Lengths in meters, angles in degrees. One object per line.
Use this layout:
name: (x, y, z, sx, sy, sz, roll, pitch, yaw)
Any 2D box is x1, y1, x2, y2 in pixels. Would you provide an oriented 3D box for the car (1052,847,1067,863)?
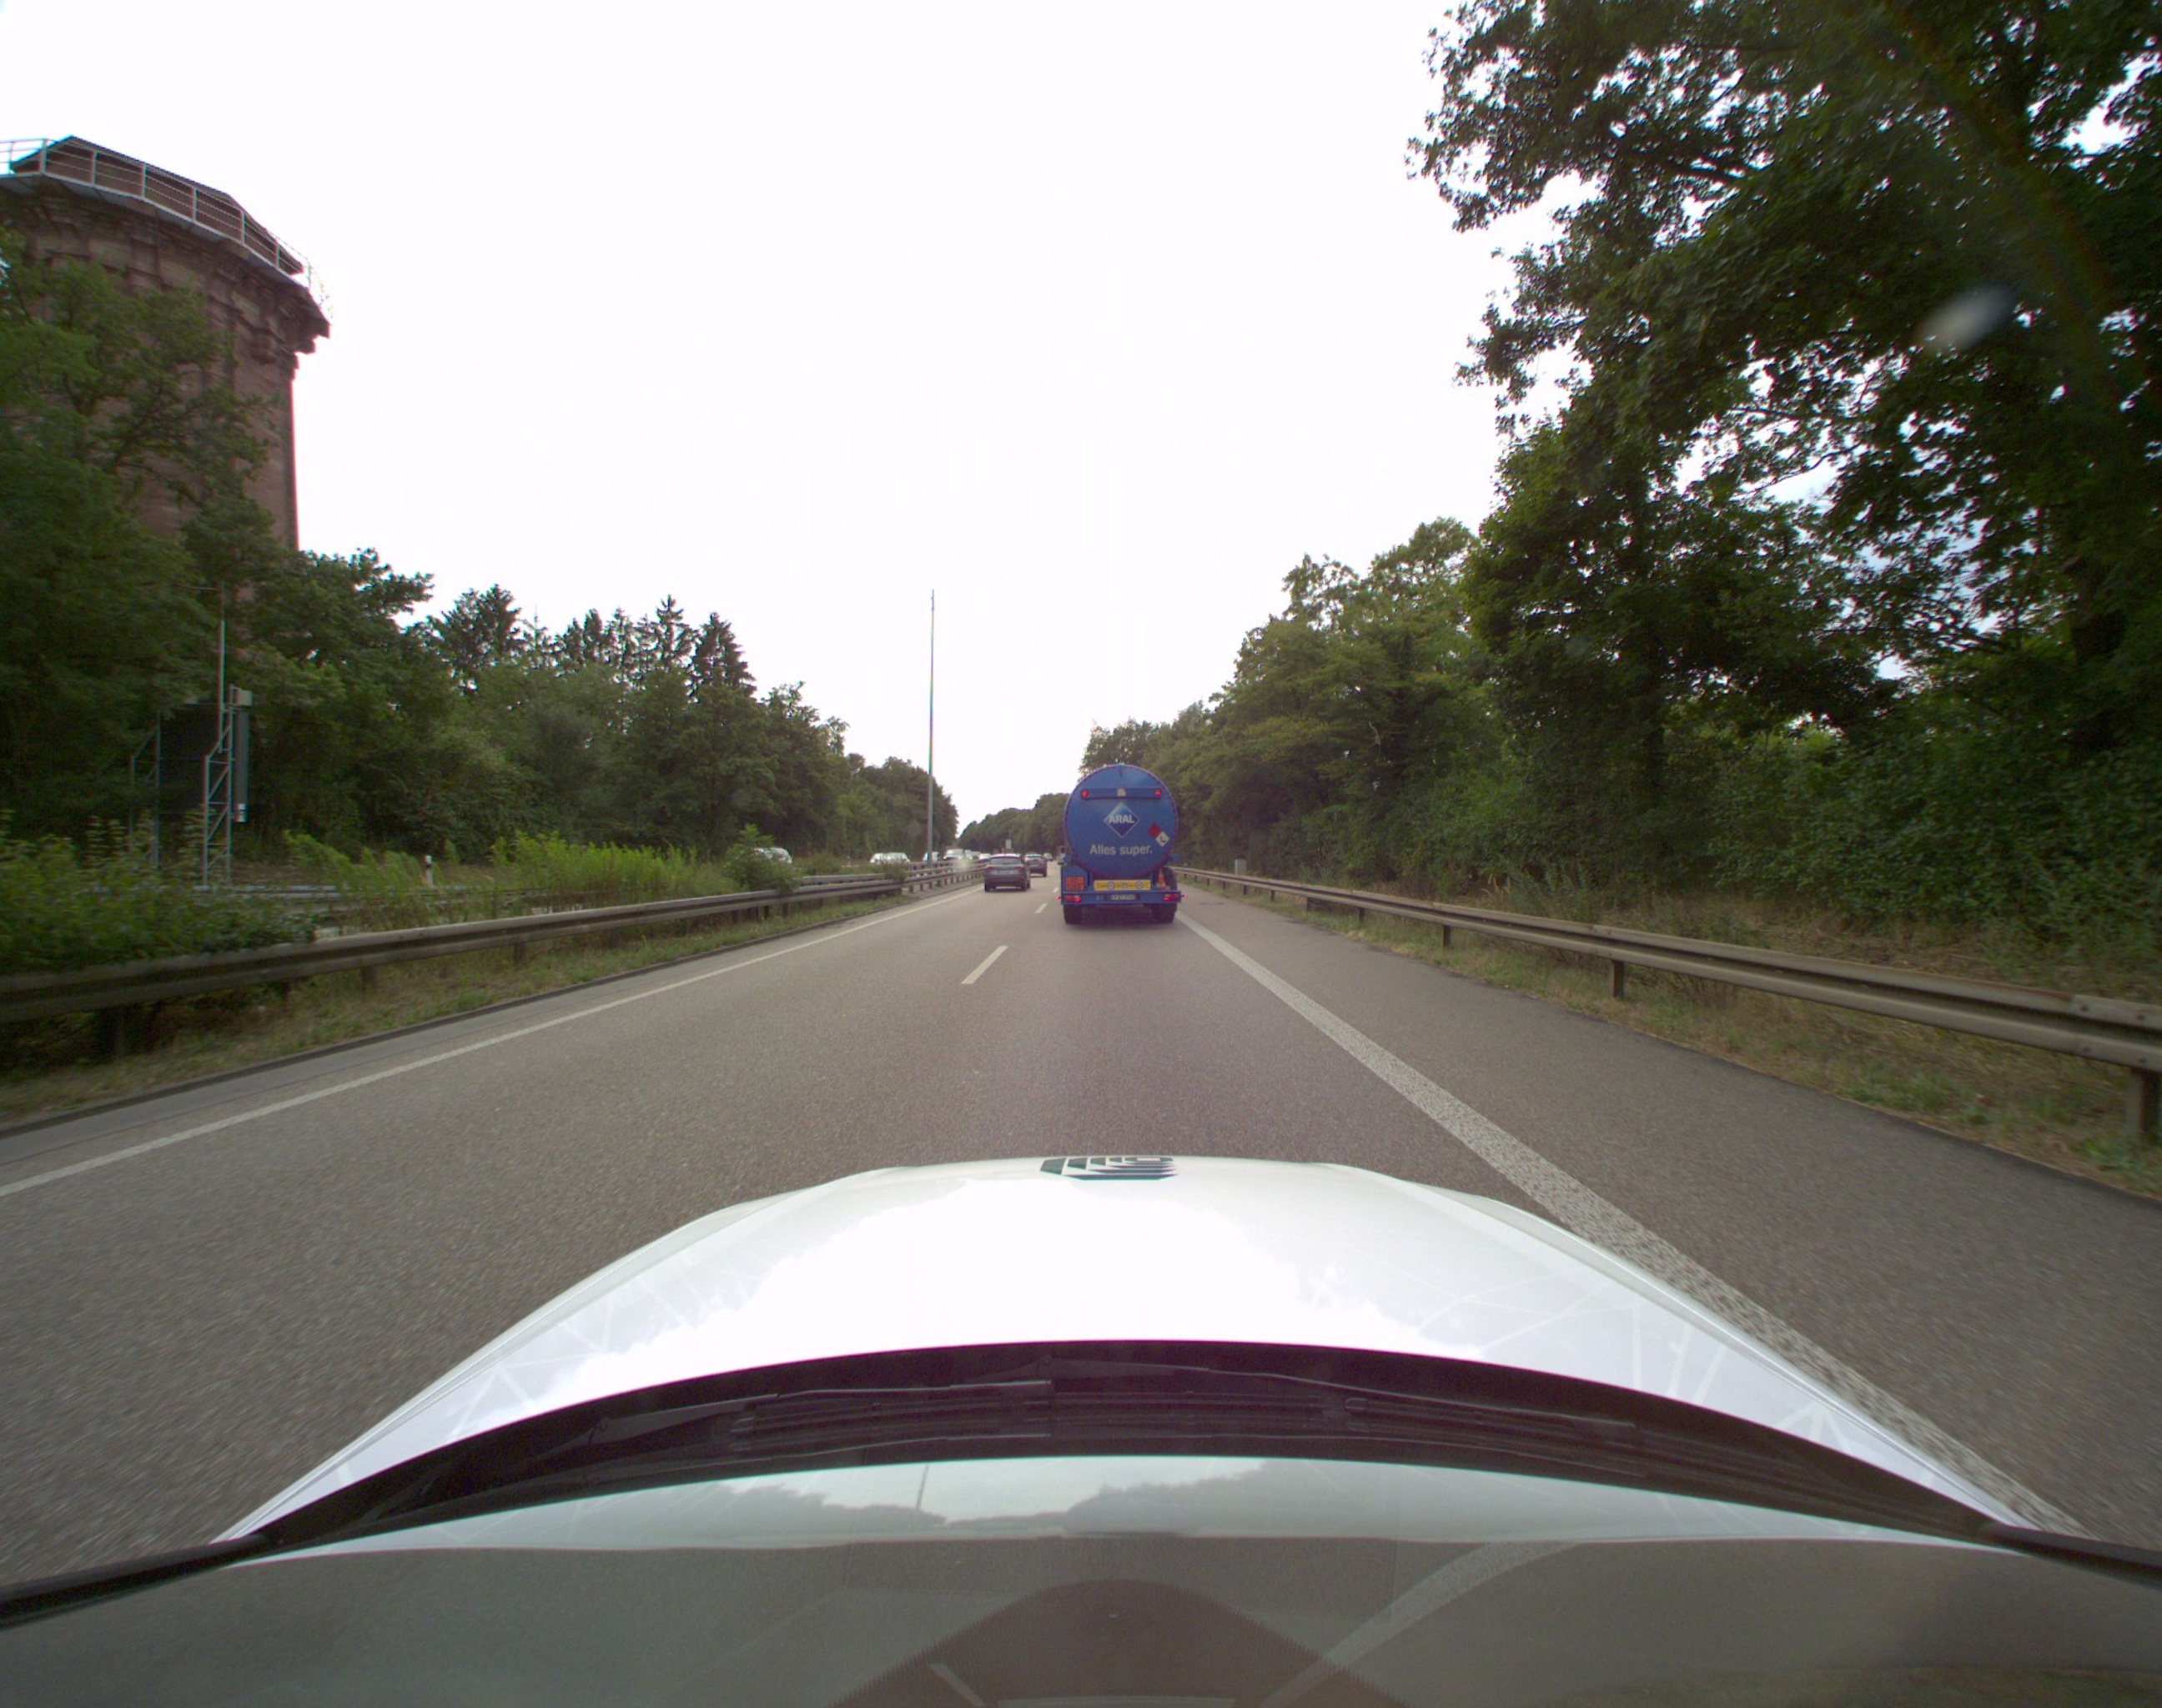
car: (-3.172, 0.161, 118.421, 1.989, 2.244, 3.995, -1, 0, -3)

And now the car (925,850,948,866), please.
car: (-15.357, 0.406, 86.936, 1.725, 1.601, 4.130, -1, 0, -1)

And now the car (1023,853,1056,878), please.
car: (-2.877, 0.785, 56.814, 1.818, 1.609, 4.171, -1, 0, 3)

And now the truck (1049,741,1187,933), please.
truck: (0.745, -0.321, 20.363, 2.747, 3.847, 7.686, -1, 0, 0)

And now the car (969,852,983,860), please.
car: (-17.569, 0.309, 136.475, 1.973, 1.300, 4.064, -1, 0, -3)

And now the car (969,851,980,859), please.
car: (-25.032, 0.321, 191.604, 2.030, 1.804, 5.119, -1, 0, -2)

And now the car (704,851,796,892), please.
car: (-14.472, 0.717, 35.942, 1.986, 1.657, 4.774, -1, 0, 1)

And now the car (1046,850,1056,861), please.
car: (-6.390, 0.413, 172.171, 1.990, 2.244, 3.994, -1, 0, -4)

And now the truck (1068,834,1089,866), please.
truck: (-0.260, -0.358, 84.883, 1.987, 3.092, 7.813, -1, 0, 0)

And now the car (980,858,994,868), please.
car: (-14.468, 1.340, 125.278, 1.707, 1.427, 4.054, -1, 0, -1)

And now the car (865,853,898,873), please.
car: (-15.816, 0.712, 64.615, 1.623, 1.508, 3.728, -1, 0, 0)

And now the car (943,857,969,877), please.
car: (-12.091, 1.221, 79.151, 1.786, 1.836, 4.954, -1, 0, -1)

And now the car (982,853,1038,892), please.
car: (-3.041, 0.777, 35.678, 1.818, 1.609, 4.171, -1, 0, 3)

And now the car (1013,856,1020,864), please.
car: (-18.859, 1.655, 238.400, 1.989, 2.244, 3.994, -1, 0, -4)
